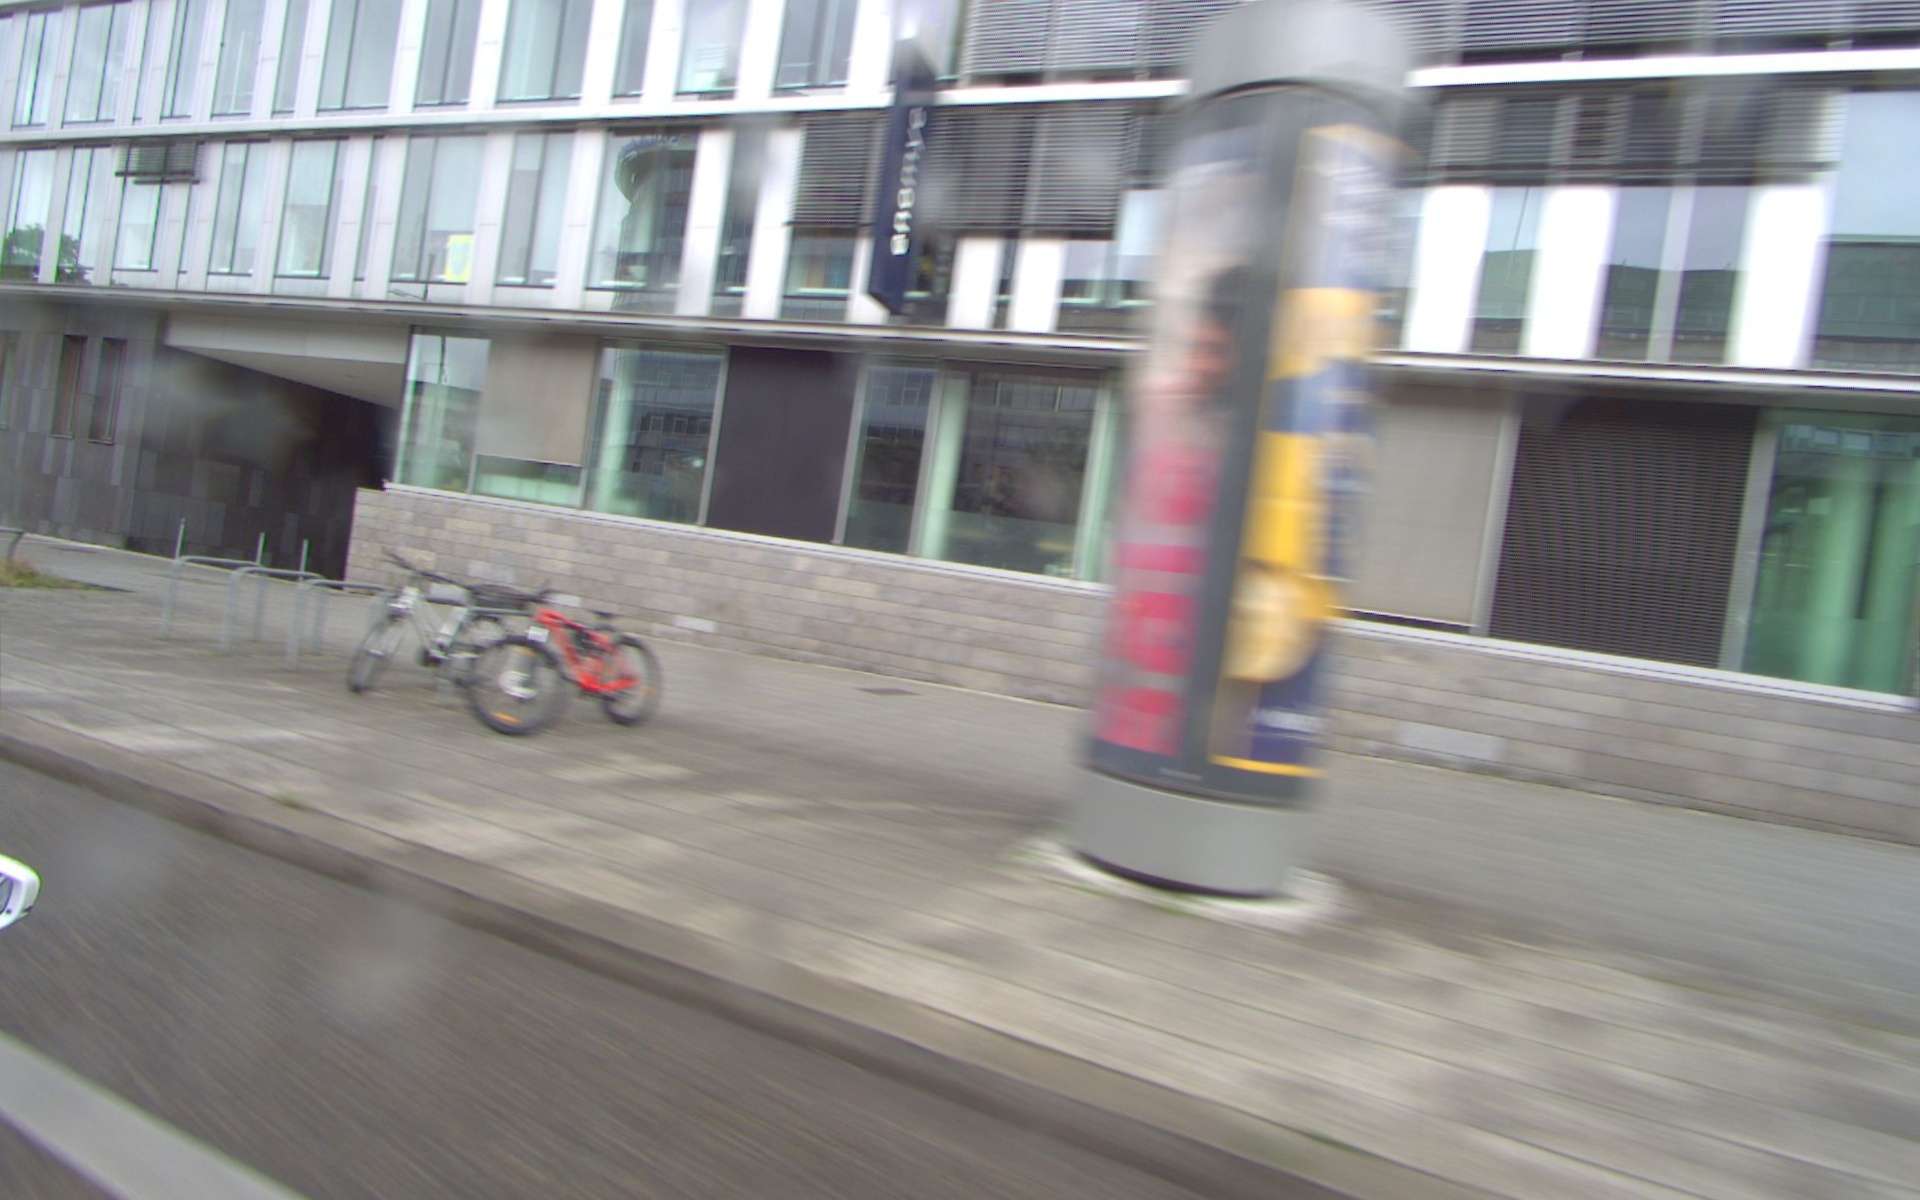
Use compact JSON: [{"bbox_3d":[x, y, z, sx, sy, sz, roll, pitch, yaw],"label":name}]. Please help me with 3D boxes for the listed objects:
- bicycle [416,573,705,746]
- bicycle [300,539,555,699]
[{"bbox_3d":[-3.076,0.468,7.989,0.794,1.118,1.987,8,0,29],"label":"bicycle"},{"bbox_3d":[-4.634,0.196,8.903,0.649,1.212,1.839,8,1,29],"label":"bicycle"}]
